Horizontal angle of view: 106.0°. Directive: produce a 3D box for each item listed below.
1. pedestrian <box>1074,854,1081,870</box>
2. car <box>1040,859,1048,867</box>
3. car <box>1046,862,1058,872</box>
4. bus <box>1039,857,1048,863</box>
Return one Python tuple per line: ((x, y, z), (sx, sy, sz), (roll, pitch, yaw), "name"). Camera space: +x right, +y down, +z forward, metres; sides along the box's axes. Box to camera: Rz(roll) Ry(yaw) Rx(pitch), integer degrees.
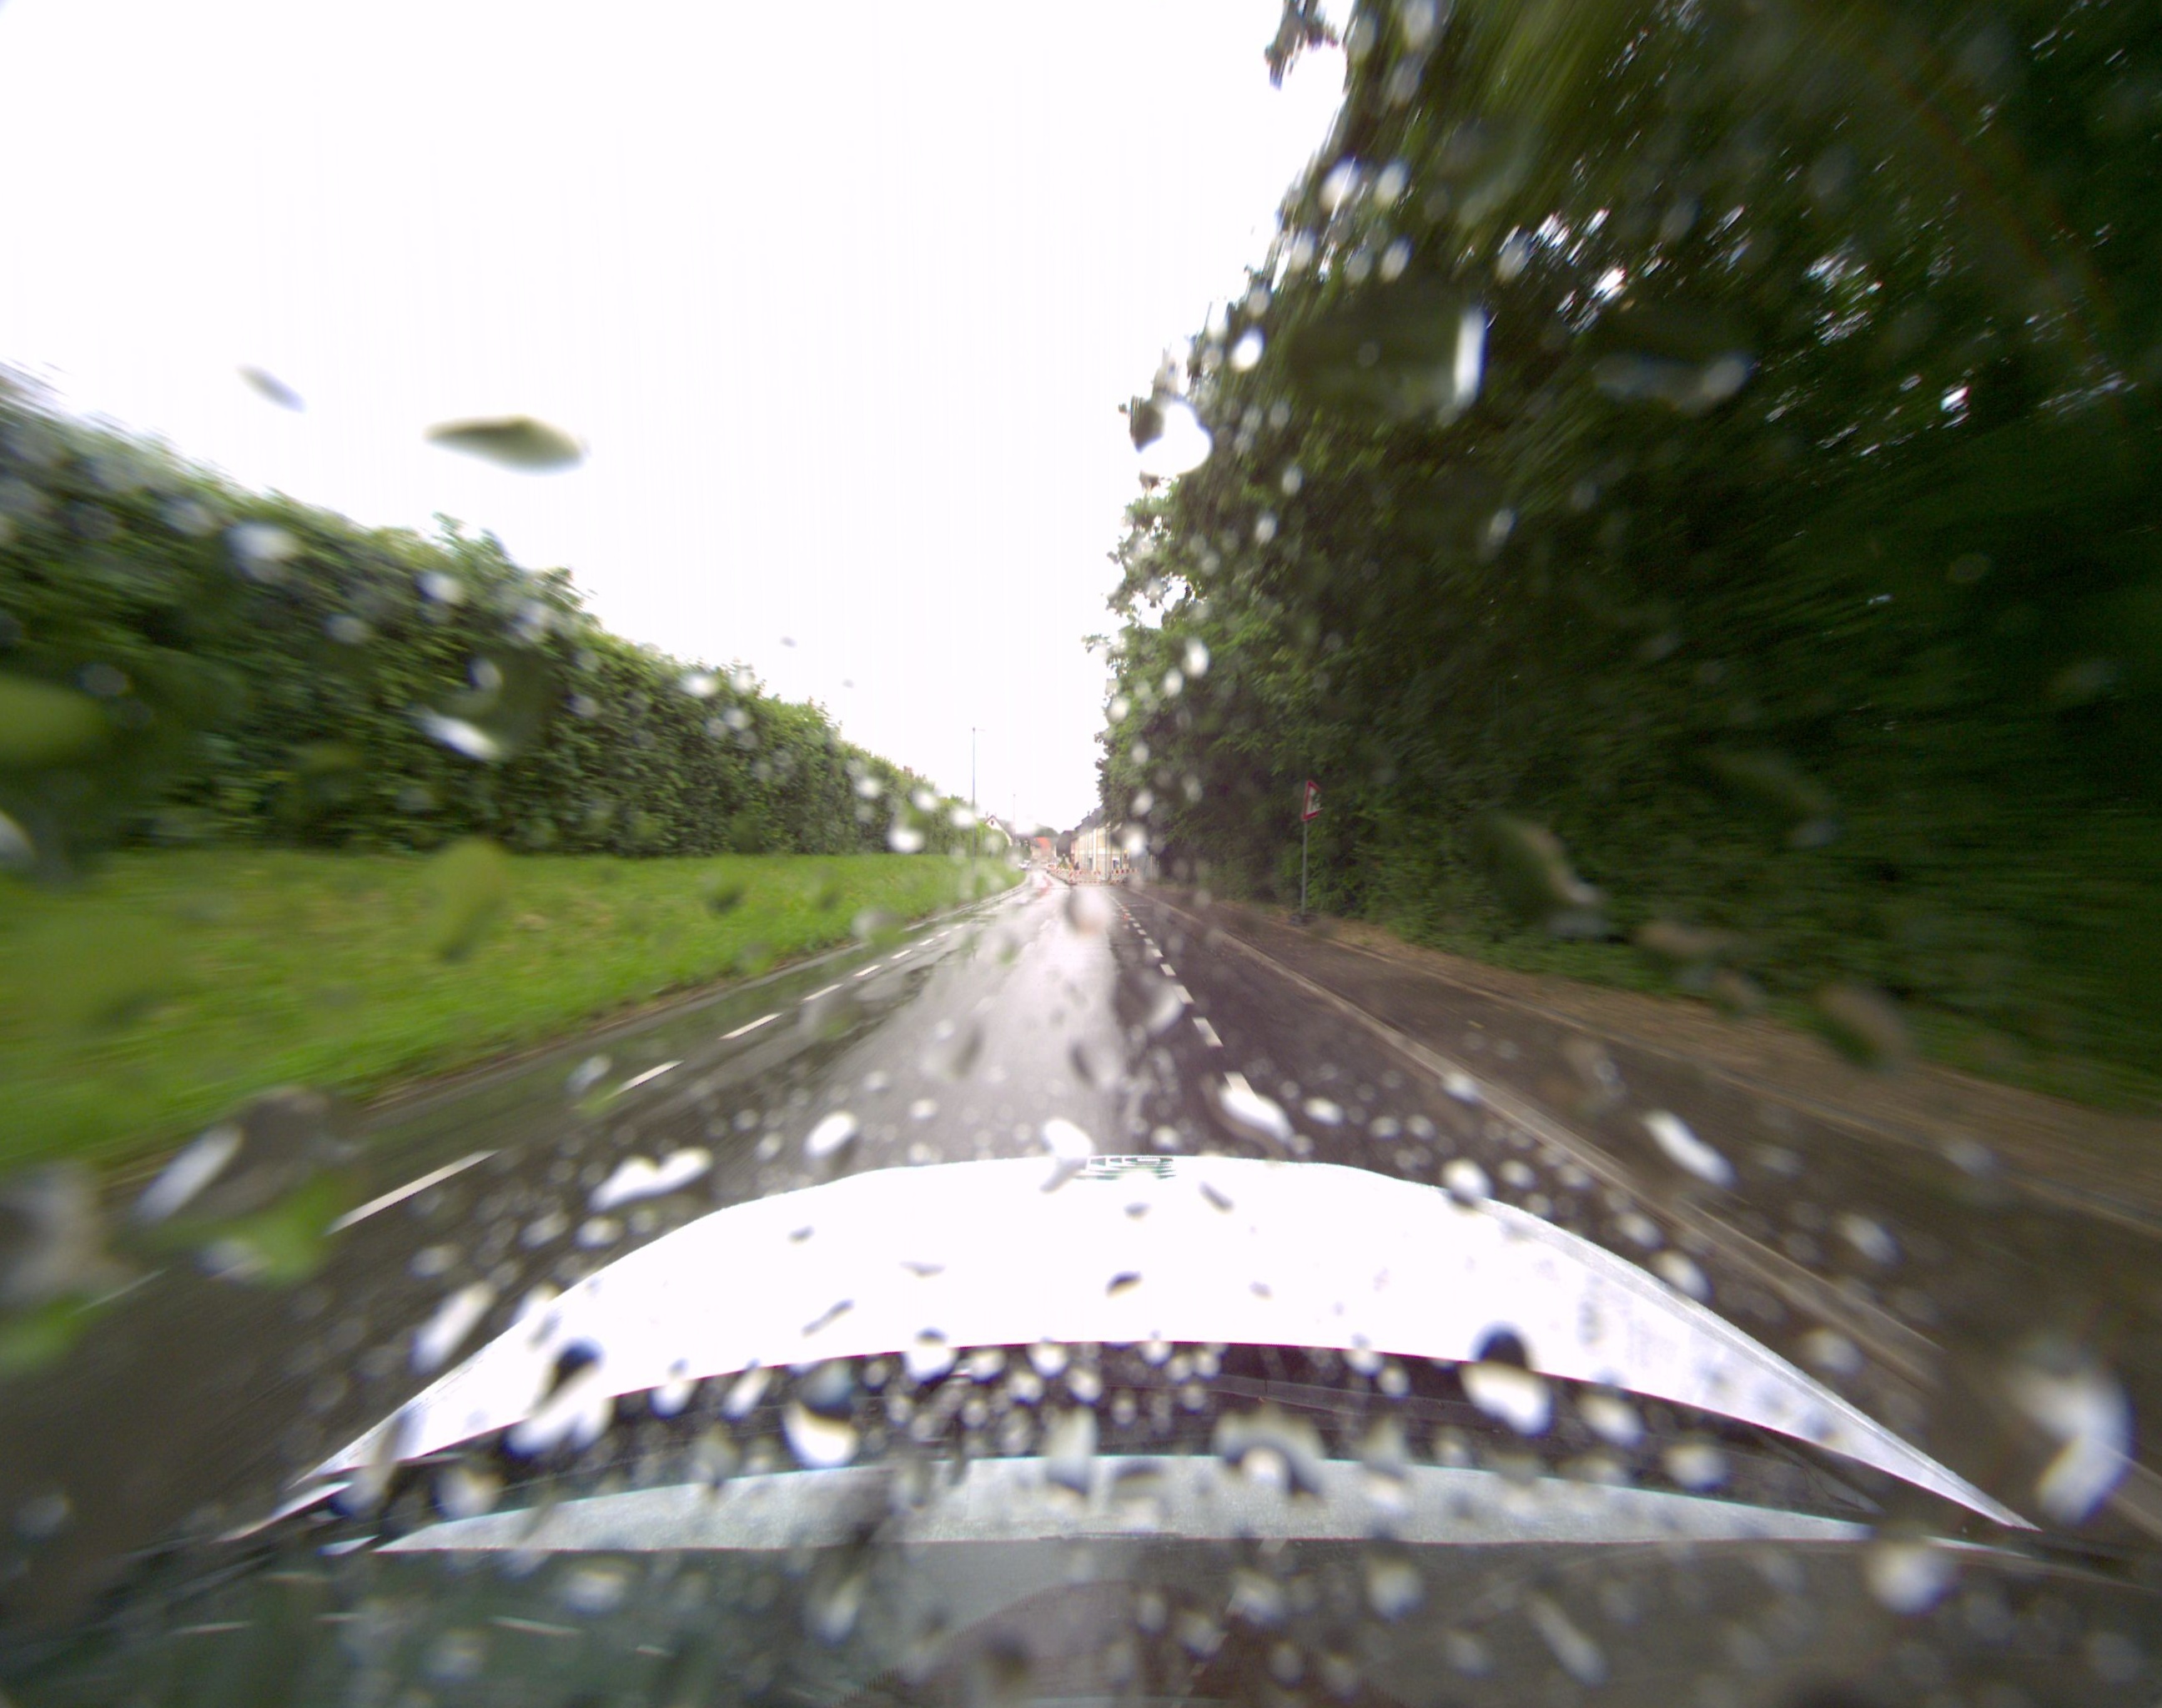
((-0.370, 0.895, 92.634), (0.665, 1.755, 0.809), (1, 0, -8), "pedestrian")
((-8.559, 2.097, 188.990), (1.814, 1.642, 4.090), (1, 0, -3), "car")
((-5.246, 2.360, 147.328), (1.987, 1.611, 4.000), (1, 0, 1), "car")
((-9.481, 1.464, 206.612), (1.788, 1.409, 4.001), (1, 0, 1), "bus")
